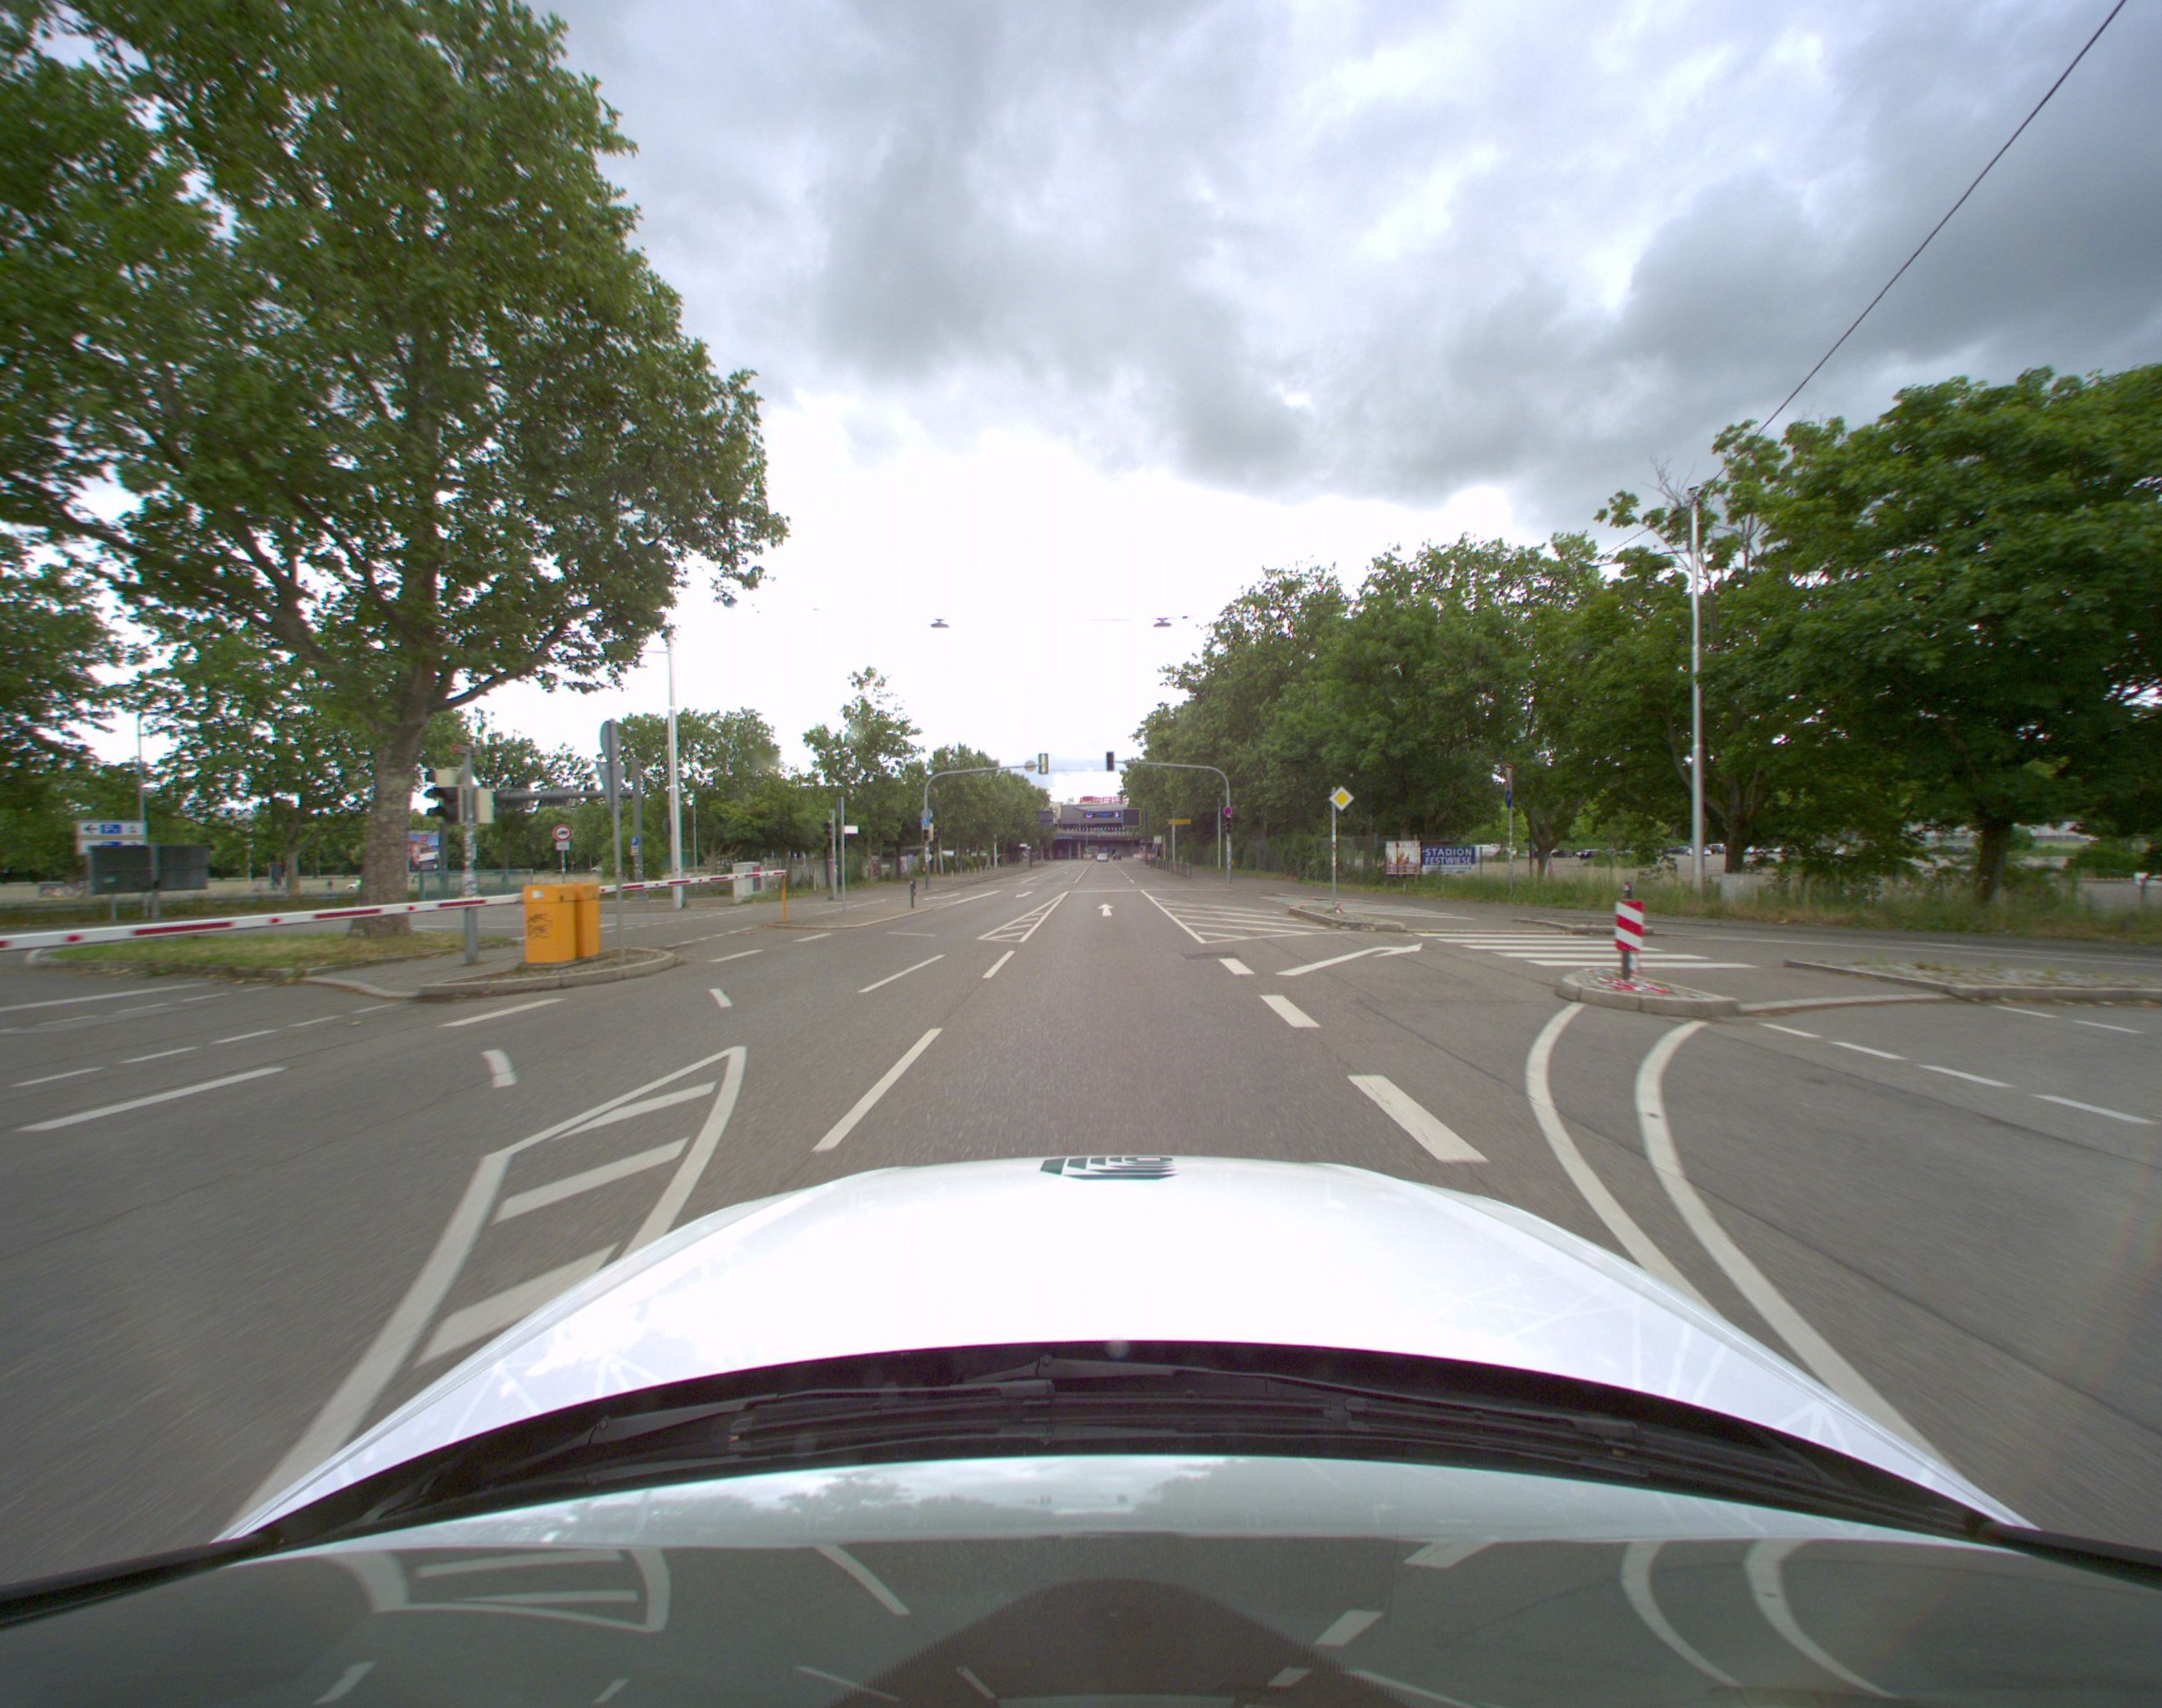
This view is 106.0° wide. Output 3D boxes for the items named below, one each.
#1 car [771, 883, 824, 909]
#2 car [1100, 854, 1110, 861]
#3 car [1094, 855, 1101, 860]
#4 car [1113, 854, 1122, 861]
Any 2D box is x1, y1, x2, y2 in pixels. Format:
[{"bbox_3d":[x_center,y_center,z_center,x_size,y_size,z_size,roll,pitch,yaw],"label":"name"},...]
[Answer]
[{"bbox_3d":[-23.629,3.469,67.987,1.867,1.835,4.611,0,0,15],"label":"car"},{"bbox_3d":[4.655,0.654,158.783,1.771,1.460,3.824,1,0,2],"label":"car"},{"bbox_3d":[3.437,0.711,167.706,1.406,1.113,3.039,0,0,2],"label":"car"},{"bbox_3d":[8.386,0.793,188.941,1.999,1.698,4.072,-1,0,3],"label":"car"}]
